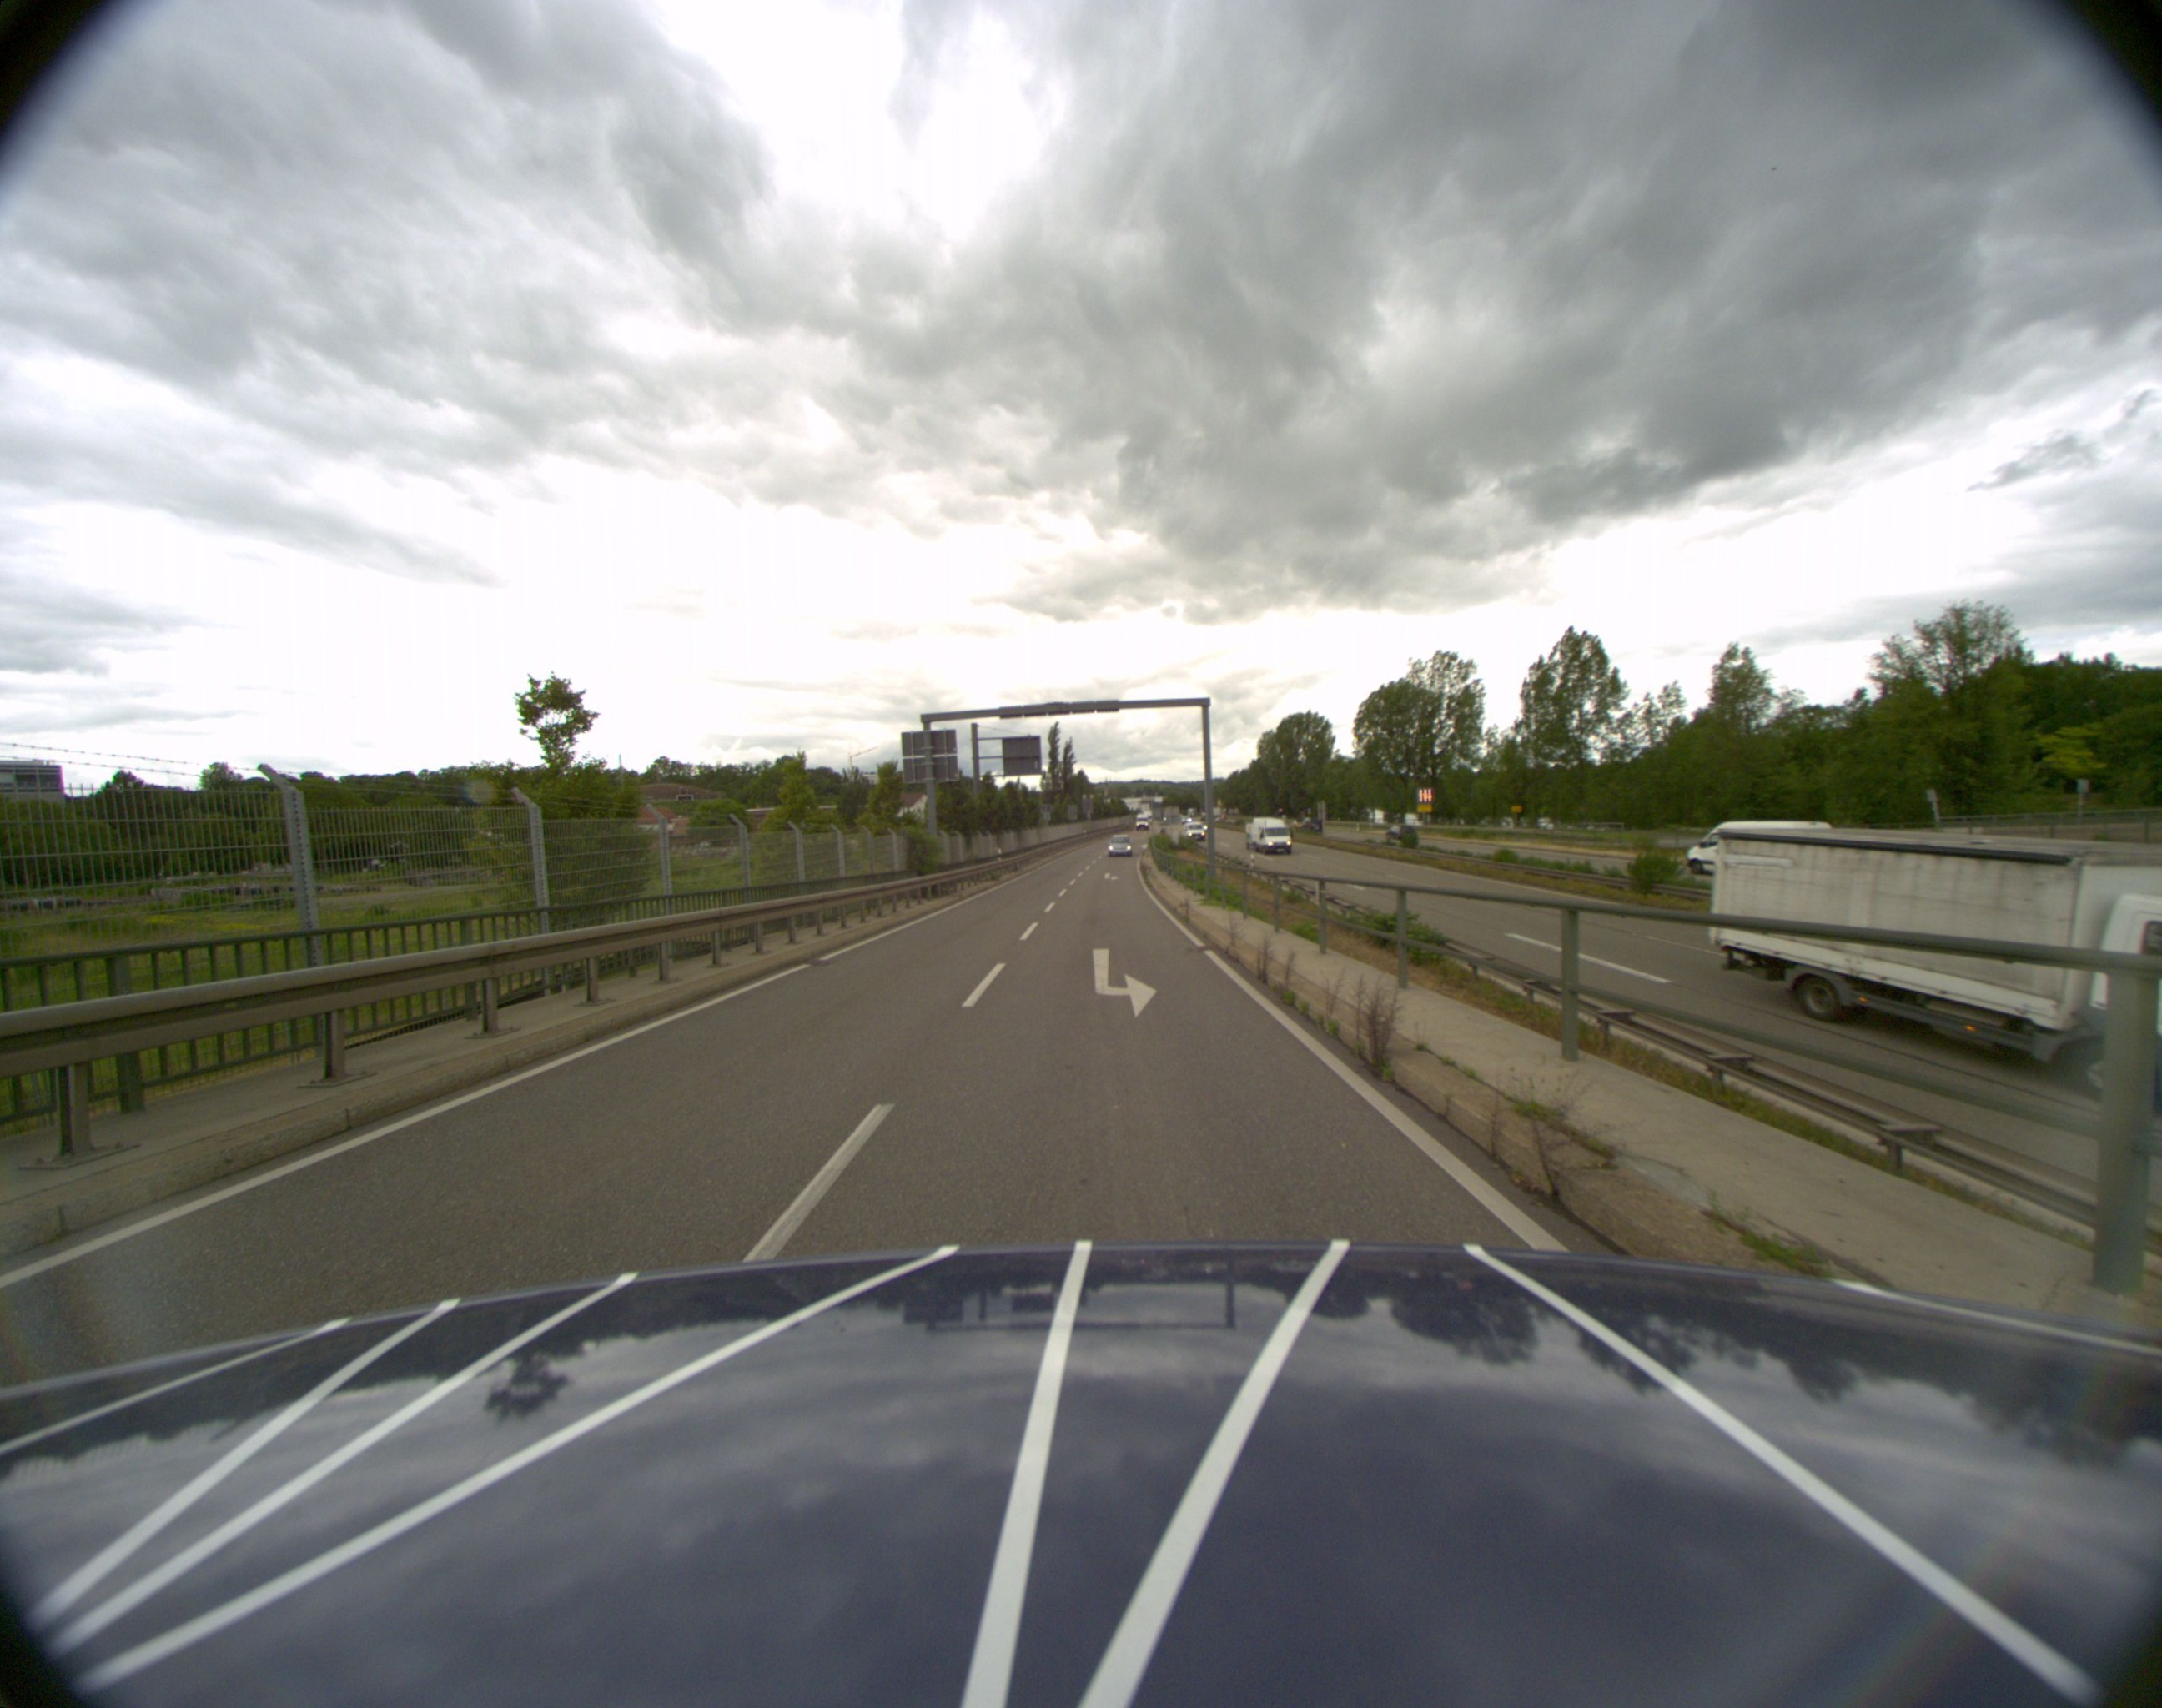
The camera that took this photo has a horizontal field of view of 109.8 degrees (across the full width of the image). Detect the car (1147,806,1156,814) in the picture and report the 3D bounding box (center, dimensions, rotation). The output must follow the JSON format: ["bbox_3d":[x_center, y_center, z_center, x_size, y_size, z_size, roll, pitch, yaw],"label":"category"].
[{"bbox_3d":[16.955,-10.630,182.730,1.998,1.794,3.996,-1,5,0],"label":"car"}]

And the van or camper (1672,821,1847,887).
[{"bbox_3d":[30.387,-0.131,34.462,2.188,2.444,6.343,-3,4,-1],"label":"van or camper"}]

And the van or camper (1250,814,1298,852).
[{"bbox_3d":[14.769,-1.707,58.537,2.210,2.590,6.324,-3,4,2],"label":"van or camper"}]

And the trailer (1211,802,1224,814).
[{"bbox_3d":[47.081,-15.912,261.722,2.796,3.928,13.508,-3,4,4],"label":"trailer"}]

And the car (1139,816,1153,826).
[{"bbox_3d":[10.824,-5.520,126.022,1.998,1.587,3.998,-1,3,0],"label":"car"}]

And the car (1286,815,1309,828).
[{"bbox_3d":[31.583,-4.754,110.877,1.998,1.711,4.699,-1,5,0],"label":"car"}]

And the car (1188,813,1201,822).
[{"bbox_3d":[23.701,-7.572,158.928,1.998,1.808,3.998,-1,3,0],"label":"car"}]

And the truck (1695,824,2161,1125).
[{"bbox_3d":[13.742,1.270,11.335,3.039,3.142,7.563,-1,4,1],"label":"truck"}]

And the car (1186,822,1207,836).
[{"bbox_3d":[12.134,-2.642,80.189,1.998,1.392,4.000,-1,3,6],"label":"car"}]

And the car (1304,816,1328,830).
[{"bbox_3d":[29.584,-3.895,95.673,1.998,1.741,3.999,-1,3,3],"label":"car"}]

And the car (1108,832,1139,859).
[{"bbox_3d":[3.338,-0.610,59.078,1.997,2.001,4.003,0,-1,9],"label":"car"}]
